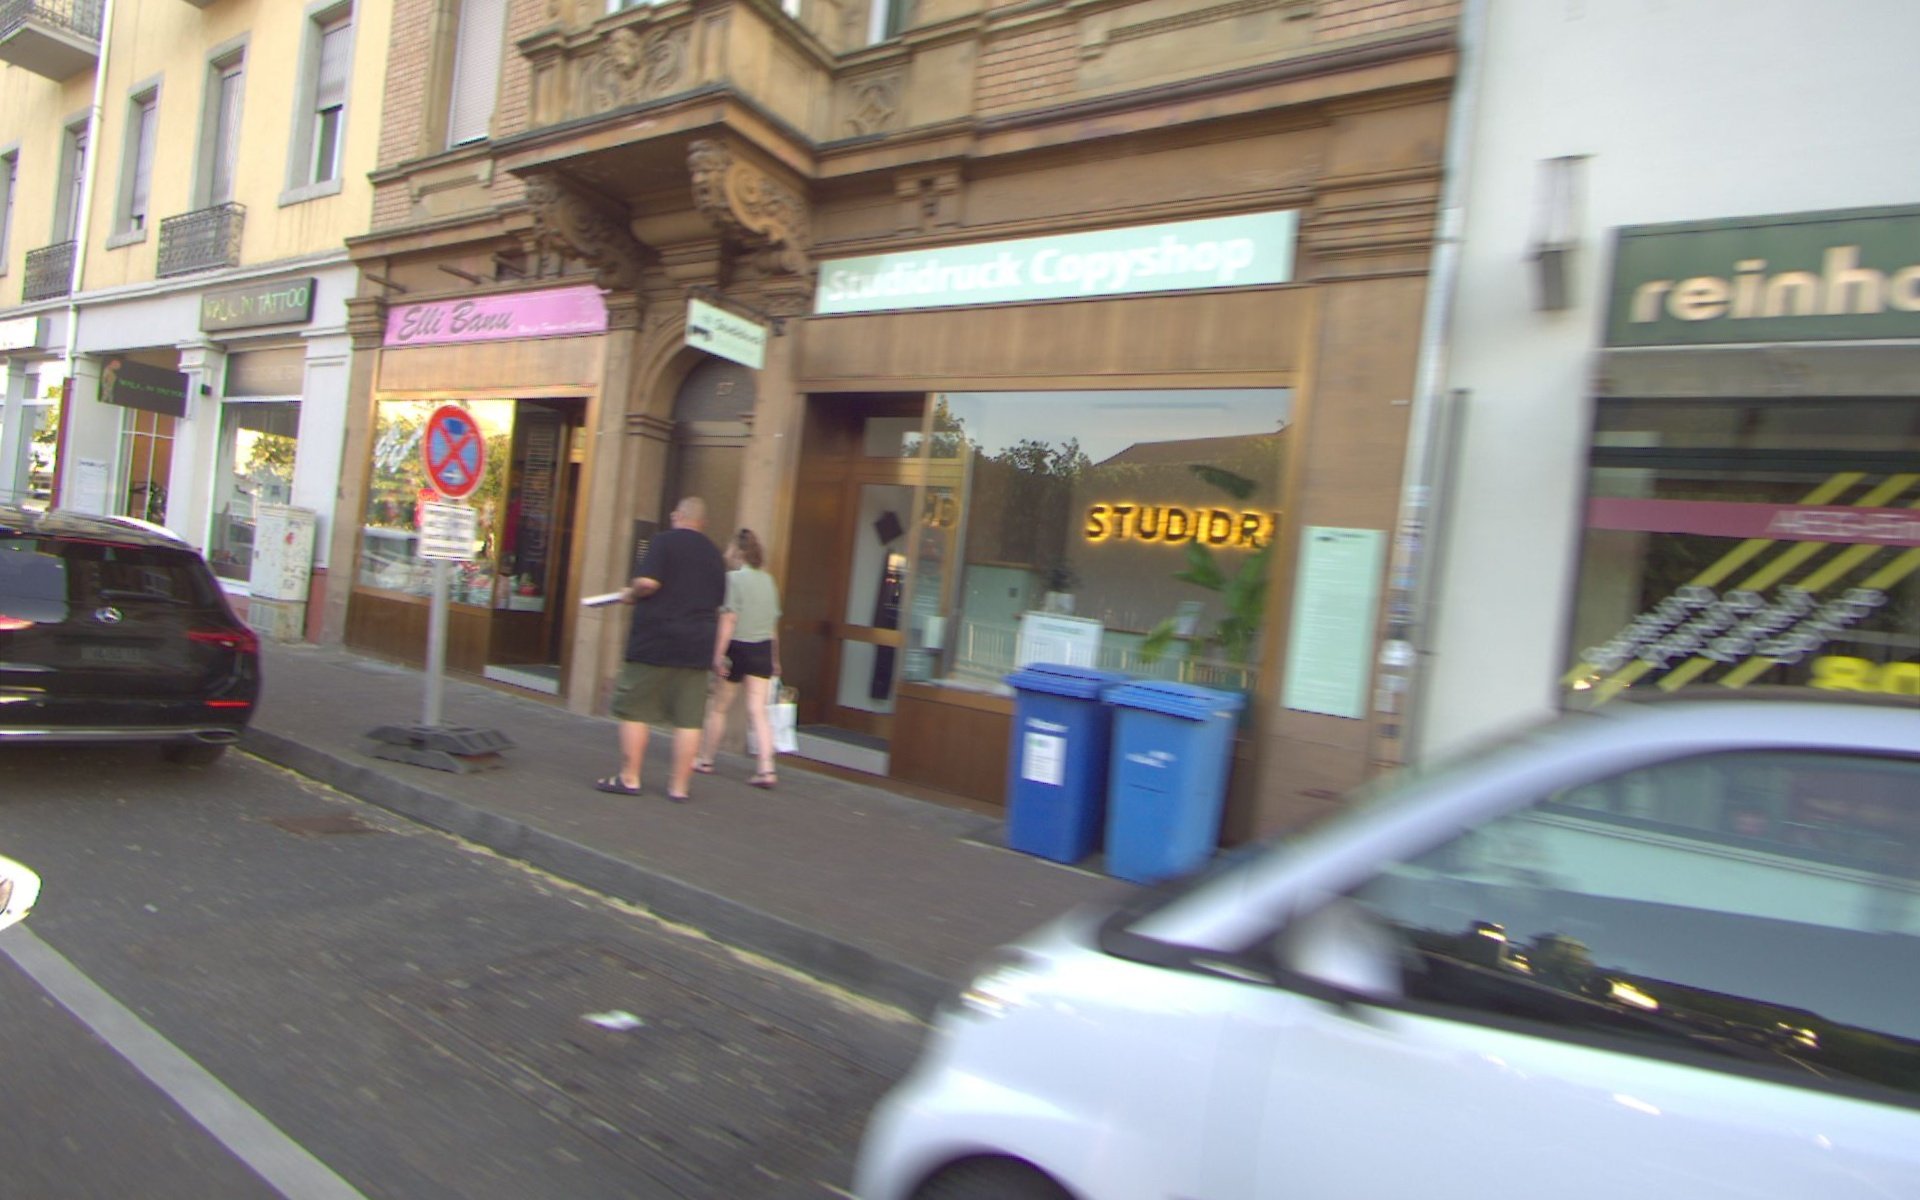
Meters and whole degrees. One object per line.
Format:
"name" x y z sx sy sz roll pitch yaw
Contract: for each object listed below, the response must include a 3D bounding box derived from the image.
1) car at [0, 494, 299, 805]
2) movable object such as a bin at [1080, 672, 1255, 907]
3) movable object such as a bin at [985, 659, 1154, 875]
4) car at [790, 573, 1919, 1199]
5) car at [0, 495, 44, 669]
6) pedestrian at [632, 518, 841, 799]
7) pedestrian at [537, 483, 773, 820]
"car" -6.194 0.084 6.229 4.450 1.464 1.733 6 -3 33
"movable object such as a bin" 1.150 0.981 5.504 0.608 1.084 0.774 7 2 32
"movable object such as a bin" 0.651 0.924 5.882 0.608 1.084 0.774 7 2 32
"car" 1.476 0.937 1.628 3.230 1.554 1.534 6 -2 34
"car" -10.321 -0.421 9.159 4.401 1.464 1.733 6 -3 33
"pedestrian" -1.548 0.371 6.977 1.024 1.734 0.773 7 2 32
"pedestrian" -1.871 0.278 6.189 0.994 1.851 0.773 7 2 32
